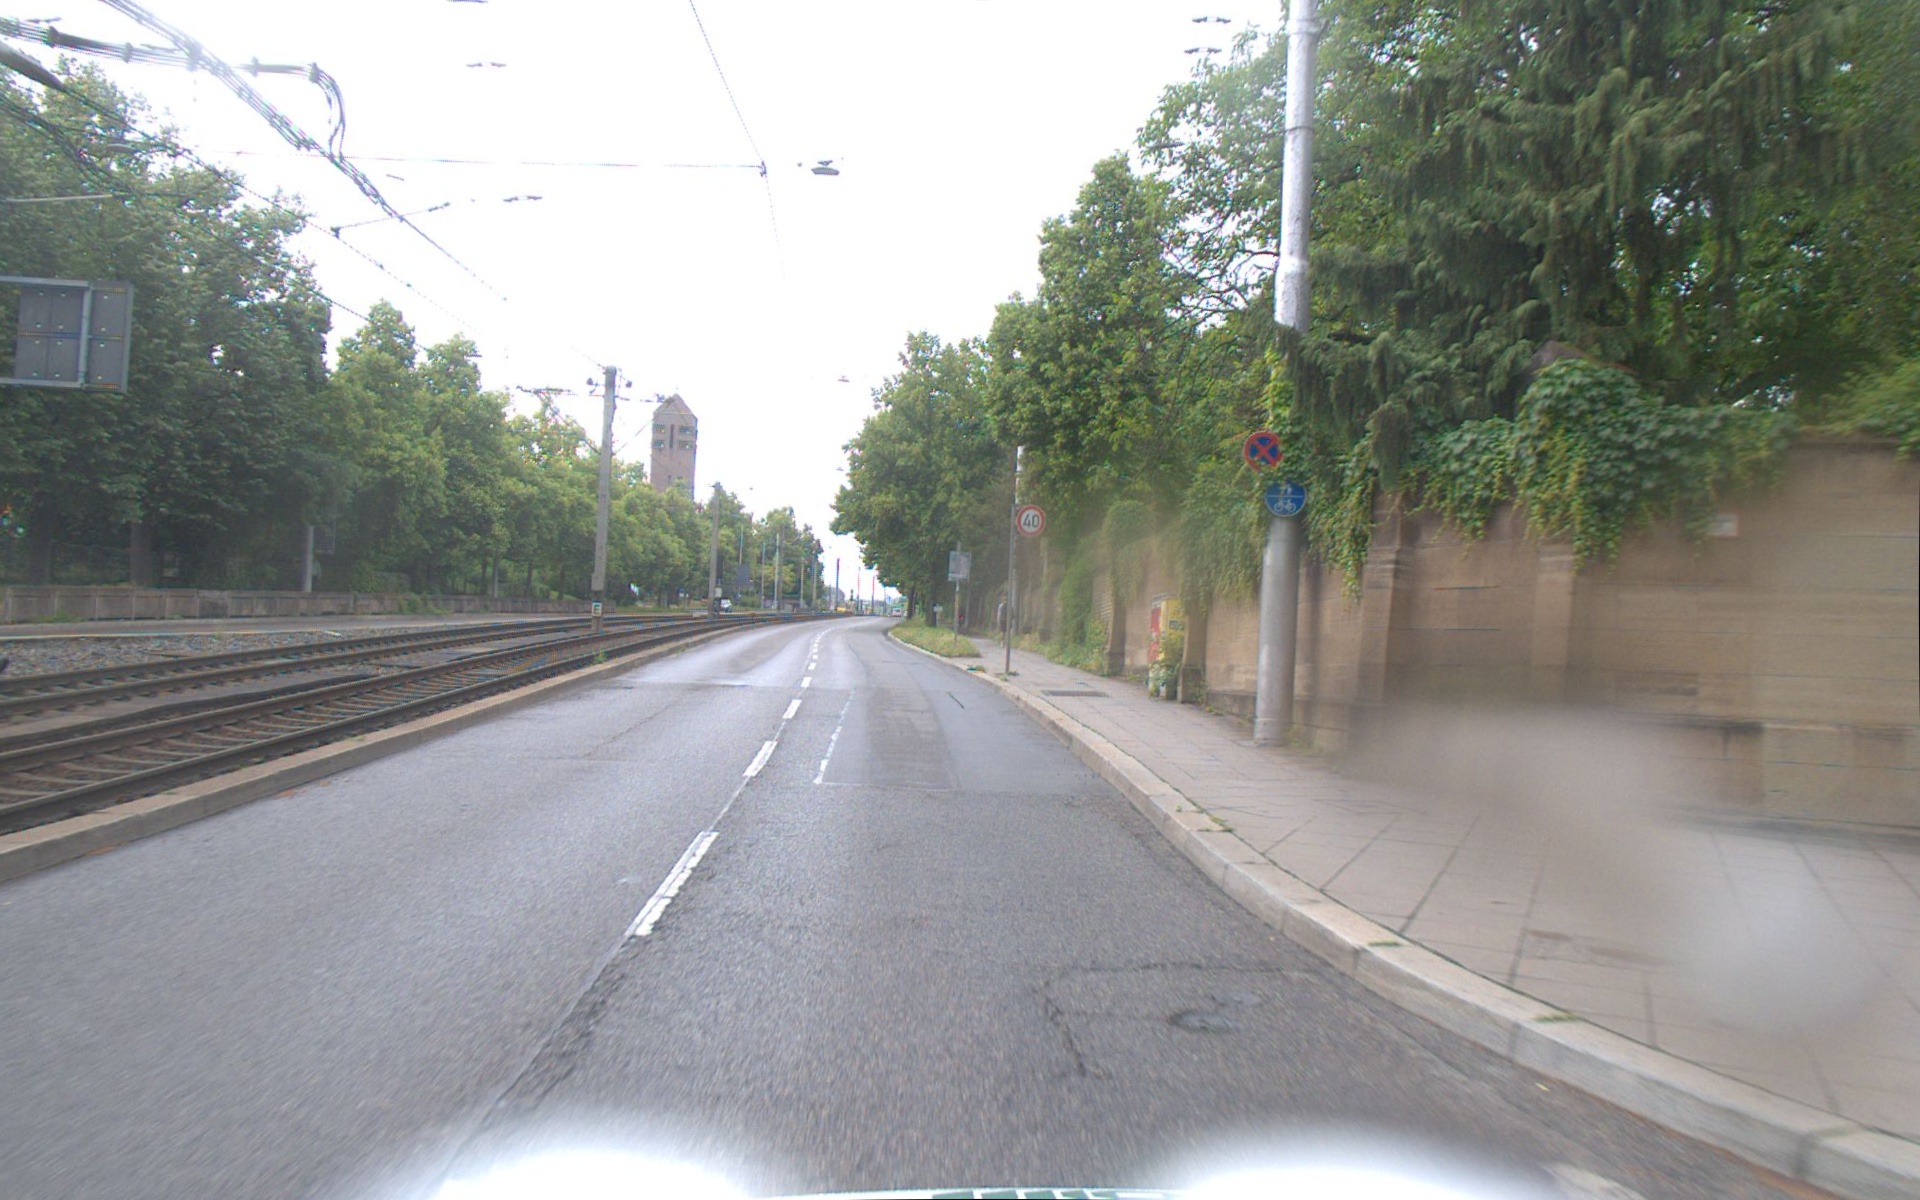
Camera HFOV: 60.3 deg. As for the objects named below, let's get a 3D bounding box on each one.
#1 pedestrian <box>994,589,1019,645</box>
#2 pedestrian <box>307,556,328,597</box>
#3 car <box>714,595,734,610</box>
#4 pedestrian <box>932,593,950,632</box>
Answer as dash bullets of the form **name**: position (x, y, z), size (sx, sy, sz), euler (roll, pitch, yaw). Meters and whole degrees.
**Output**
- **pedestrian**: position (1.589, 0.577, 56.795), size (0.705, 1.882, 0.783), euler (3, -1, -2)
- **pedestrian**: position (-27.136, -0.991, 69.870), size (0.635, 1.690, 0.650), euler (1, 0, -2)
- **car**: position (-26.808, 0.289, 188.142), size (1.758, 1.536, 3.847), euler (2, 0, -2)
- **pedestrian**: position (-0.857, 0.585, 74.880), size (0.705, 1.716, 0.729), euler (3, -1, -2)
